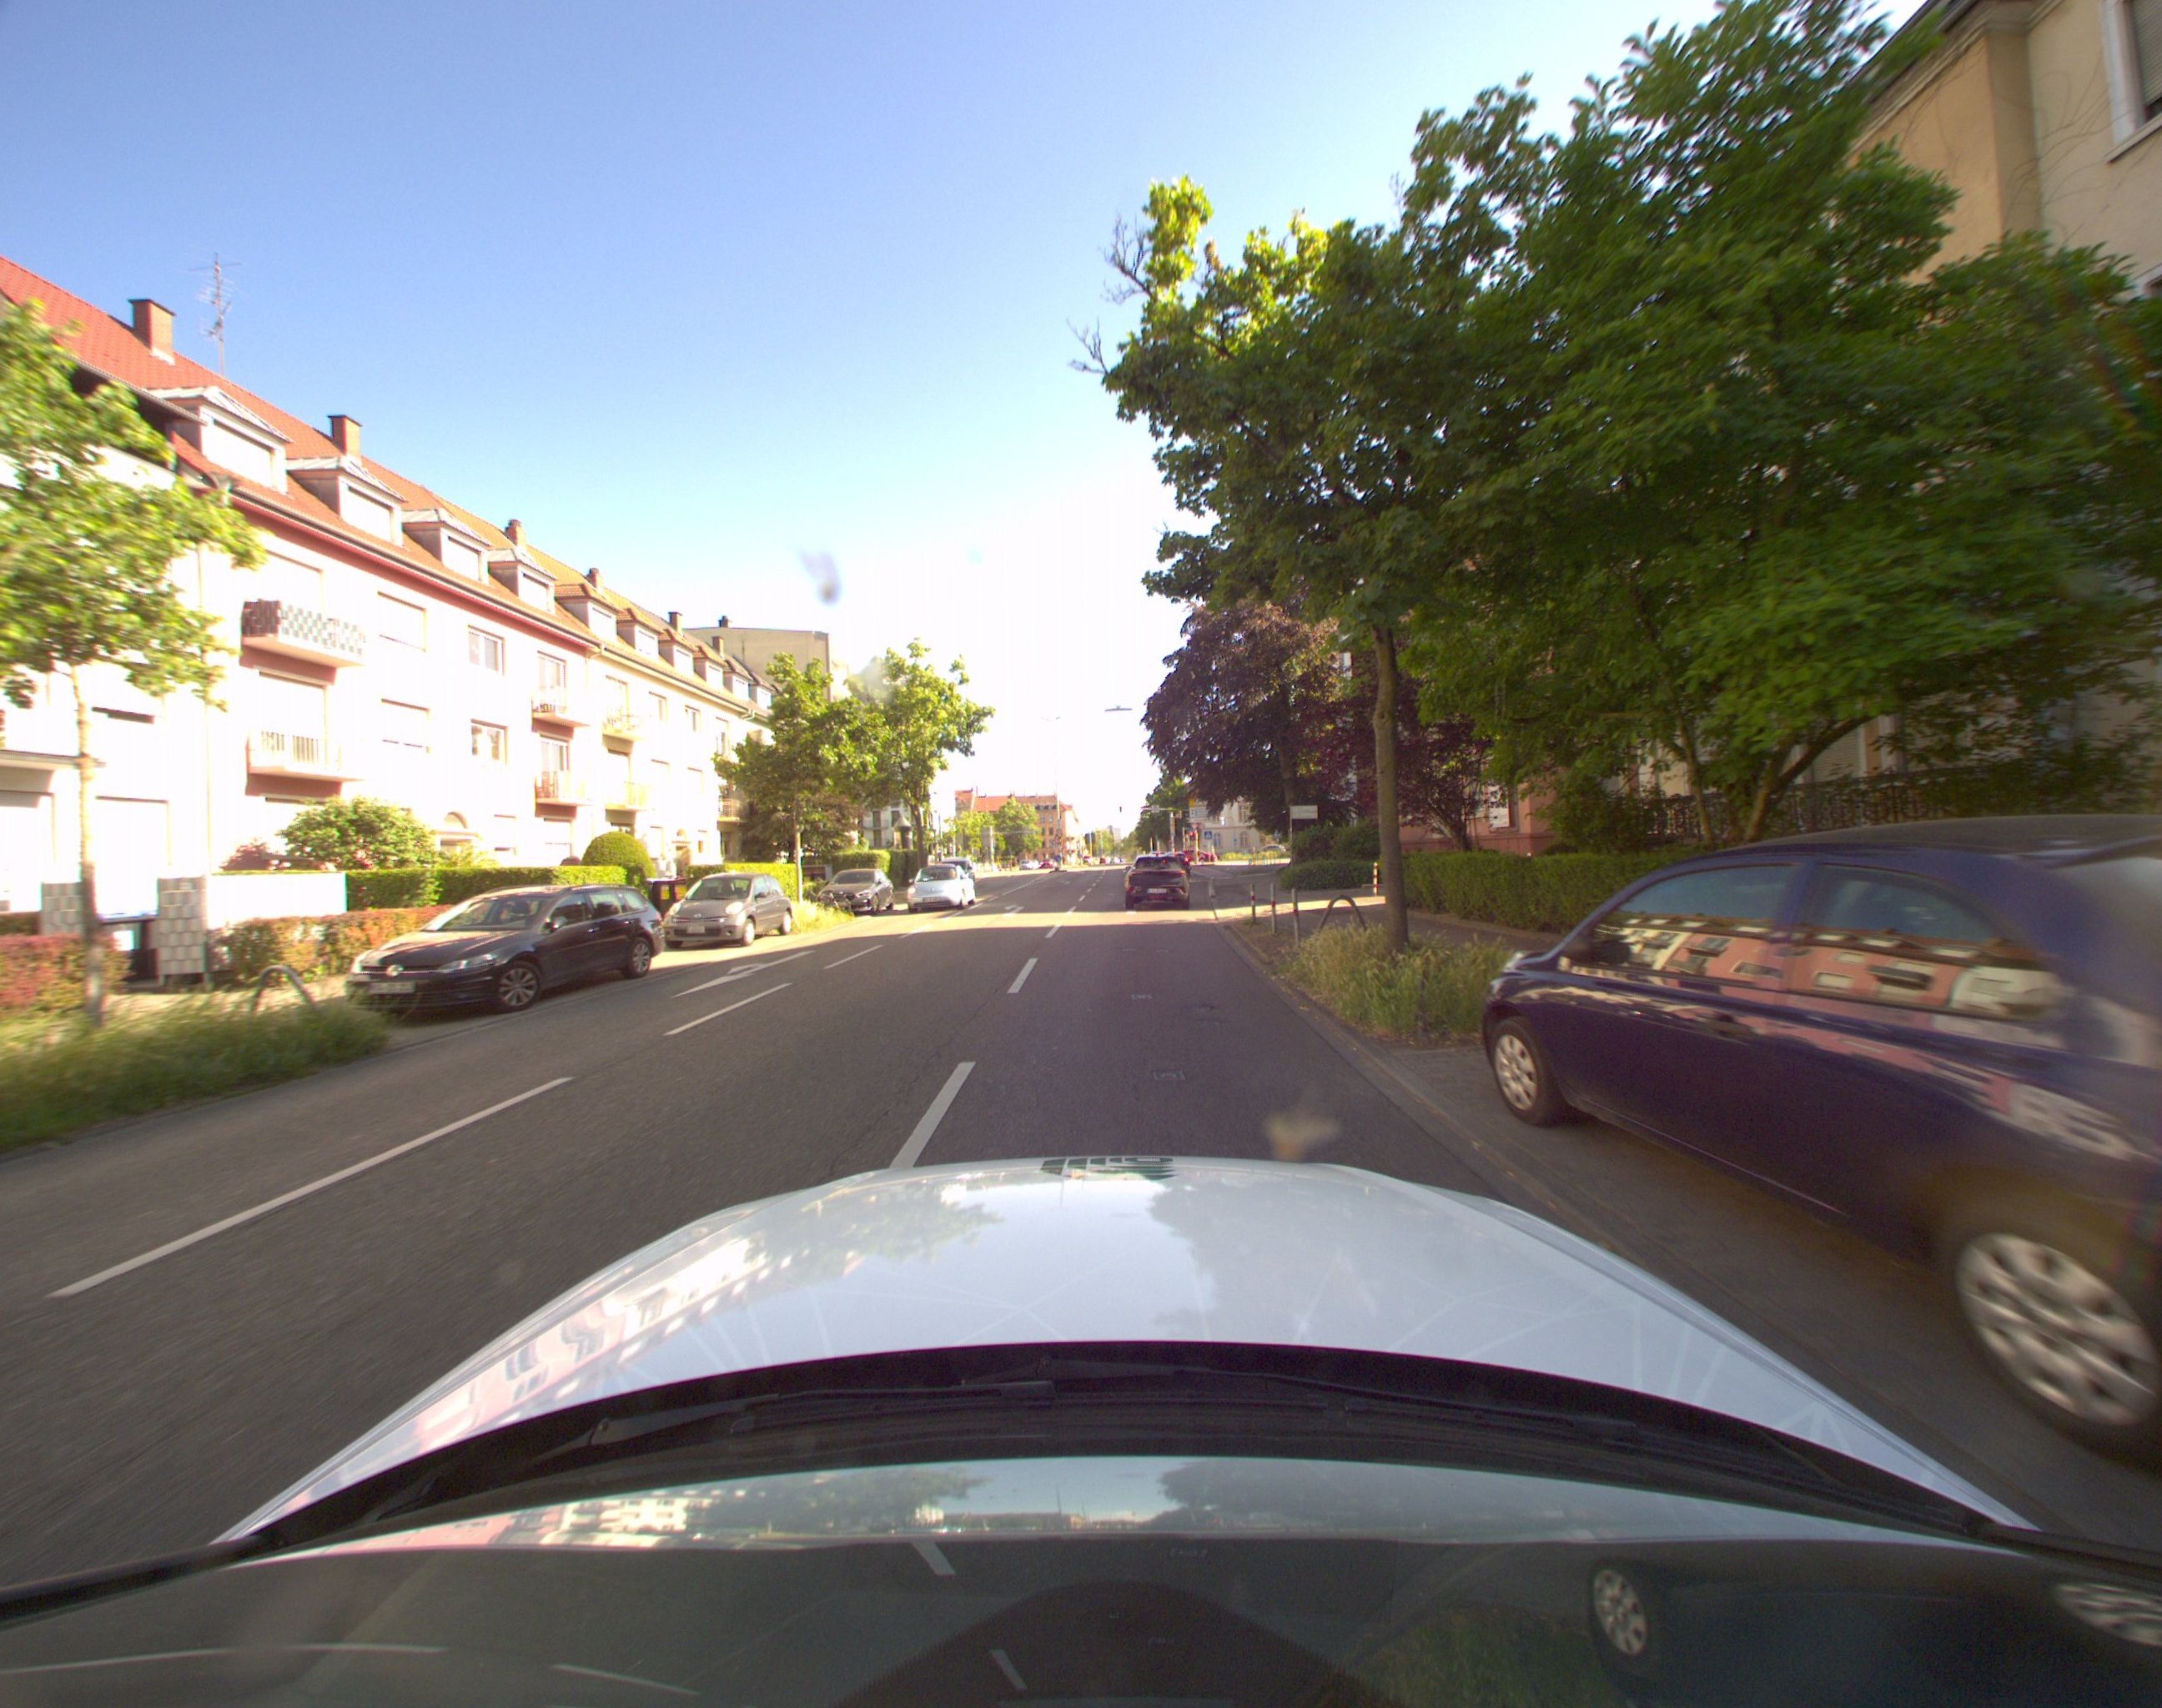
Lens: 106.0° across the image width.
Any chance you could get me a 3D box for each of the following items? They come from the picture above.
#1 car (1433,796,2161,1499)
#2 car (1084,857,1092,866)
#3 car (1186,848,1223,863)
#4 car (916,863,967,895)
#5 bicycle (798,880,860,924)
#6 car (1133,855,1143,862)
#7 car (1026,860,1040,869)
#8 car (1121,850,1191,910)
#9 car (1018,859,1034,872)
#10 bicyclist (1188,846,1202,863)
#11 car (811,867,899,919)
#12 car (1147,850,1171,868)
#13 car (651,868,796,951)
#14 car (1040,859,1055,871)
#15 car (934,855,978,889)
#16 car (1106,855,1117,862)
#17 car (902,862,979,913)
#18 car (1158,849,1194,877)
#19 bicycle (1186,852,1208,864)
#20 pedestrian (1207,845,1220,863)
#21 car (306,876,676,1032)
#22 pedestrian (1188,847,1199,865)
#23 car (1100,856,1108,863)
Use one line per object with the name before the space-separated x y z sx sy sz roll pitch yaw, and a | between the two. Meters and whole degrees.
car | 3.094 0.615 3.361 1.555 1.515 3.653 -5 0 -1
car | 1.815 1.815 199.196 1.804 2.134 4.001 -3 0 1
car | 13.427 0.187 88.559 3.847 1.452 1.783 -3 0 11
car | -7.015 1.230 41.268 1.665 1.456 4.113 -3 0 2
bicycle | -7.252 1.376 23.452 1.538 1.134 0.548 -3 0 -1
car | 15.397 1.221 219.461 1.846 1.660 4.019 0 0 18
car | -7.644 1.678 131.075 1.868 1.448 4.001 -3 0 1
car | 2.088 0.699 23.579 1.739 1.573 3.558 -1 0 1
car | -7.854 1.638 117.555 1.868 1.617 4.001 -3 0 1
bicyclist | 11.236 0.046 80.156 1.167 1.633 0.726 -2 0 -15
car | -7.287 1.198 26.682 1.763 1.408 4.362 -2 0 -2
car | 6.769 0.399 70.975 1.823 1.452 3.989 -3 0 2
car | -7.679 1.125 17.881 1.671 1.525 3.655 -1 0 -2
car | -4.735 1.510 115.670 1.784 1.617 4.002 -3 0 2
car | -7.115 0.990 46.872 1.813 1.834 4.560 -2 0 -1
car | 7.530 1.088 201.011 2.170 1.698 3.996 -3 0 -3
car | -4.503 1.030 26.704 1.732 1.381 3.936 -4 0 0
car | 5.847 0.528 50.302 1.823 1.578 3.841 -3 0 2
bicycle | 11.401 0.390 80.206 2.035 1.061 0.619 -2 0 -15
pedestrian | 12.748 0.023 78.519 1.038 1.660 0.783 -3 0 -2
car | -7.656 1.168 11.276 1.779 1.493 4.492 -3 0 0
pedestrian | 10.777 0.155 77.743 0.824 1.702 0.916 -2 0 -4
car | 5.296 1.303 187.284 1.804 1.407 4.001 -3 0 1
